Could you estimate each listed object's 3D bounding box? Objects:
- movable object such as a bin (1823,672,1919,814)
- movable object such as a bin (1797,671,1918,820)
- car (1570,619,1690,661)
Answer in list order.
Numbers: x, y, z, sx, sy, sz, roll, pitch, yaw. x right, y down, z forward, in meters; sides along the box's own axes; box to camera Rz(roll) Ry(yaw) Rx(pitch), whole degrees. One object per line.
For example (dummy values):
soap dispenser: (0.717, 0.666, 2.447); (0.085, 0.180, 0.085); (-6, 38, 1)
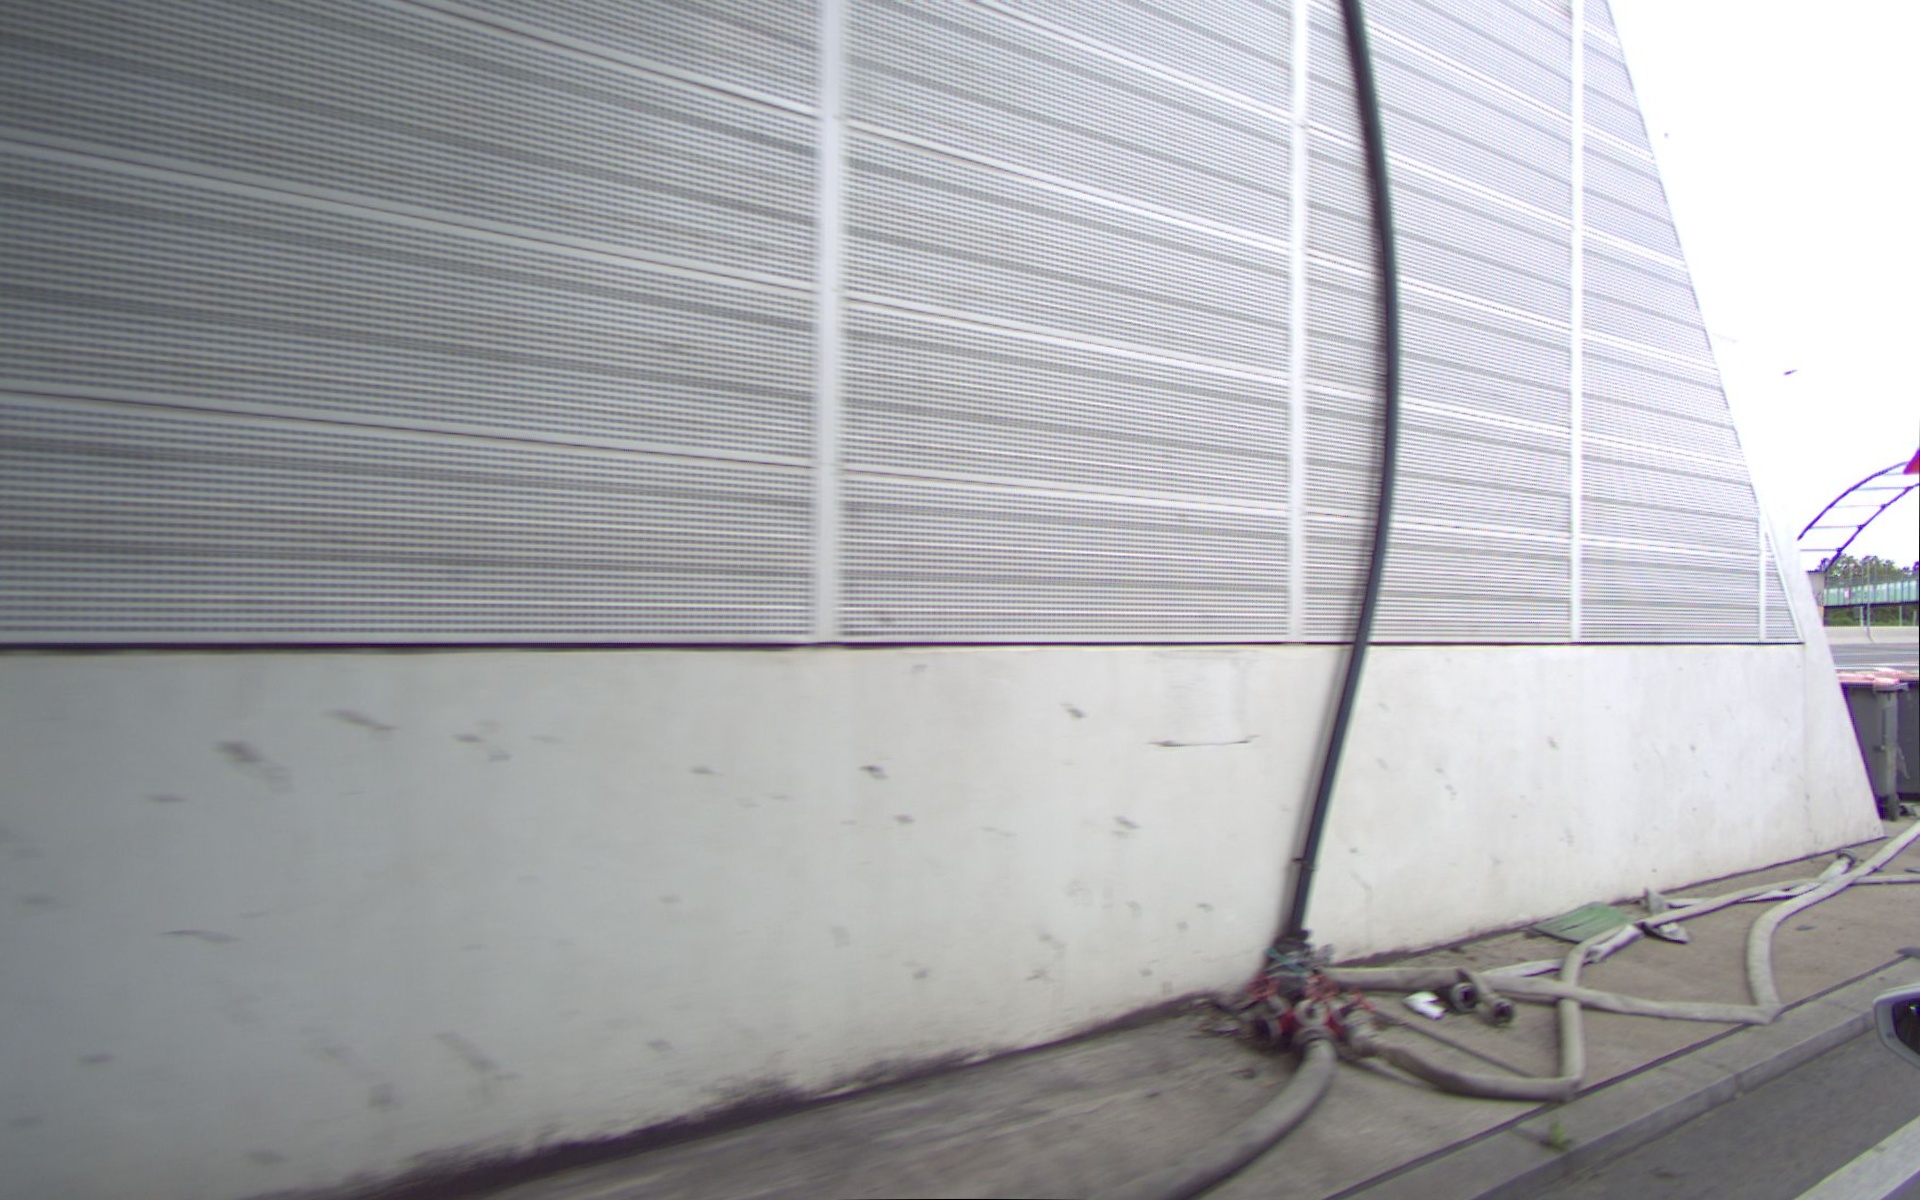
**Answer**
movable object such as a bin: (7.178, 1.103, 7.902); (0.419, 1.030, 0.485); (1, 0, -35)
movable object such as a bin: (6.786, 1.074, 7.599); (0.541, 1.022, 0.549); (1, 0, -34)
car: (23.444, 1.371, 35.118); (4.145, 1.368, 1.854); (1, -1, -30)
